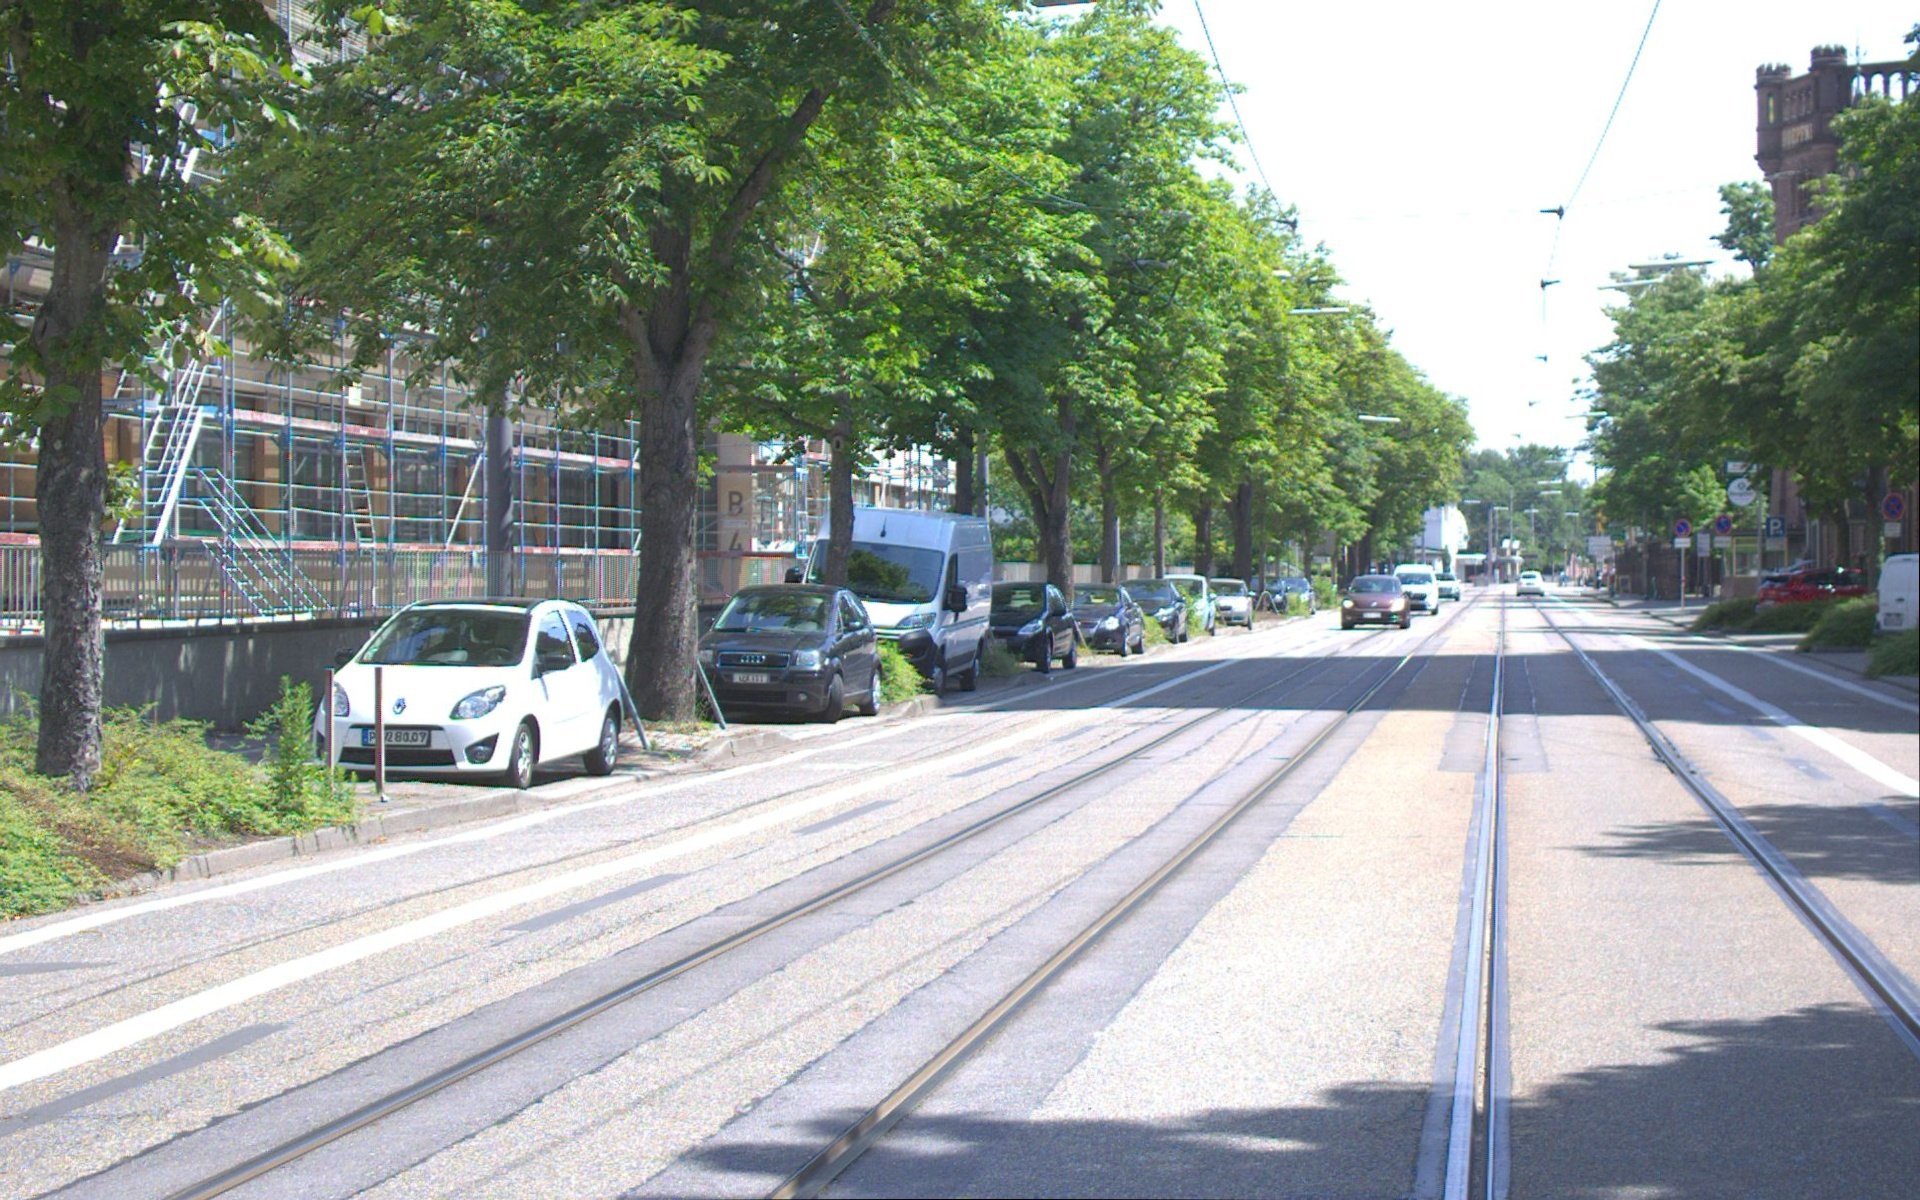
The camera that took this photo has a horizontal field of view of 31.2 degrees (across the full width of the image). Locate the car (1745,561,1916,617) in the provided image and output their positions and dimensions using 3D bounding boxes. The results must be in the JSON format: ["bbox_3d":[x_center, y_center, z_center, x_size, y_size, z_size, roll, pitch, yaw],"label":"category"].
[{"bbox_3d":[23.384,-0.290,92.398,3.986,1.481,2.001,0,1,-12],"label":"car"}]

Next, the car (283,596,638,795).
[{"bbox_3d":[-3.906,0.706,27.425,1.618,1.435,3.581,0,1,13],"label":"car"}]

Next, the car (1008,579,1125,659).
[{"bbox_3d":[2.100,0.341,66.826,1.994,1.481,3.999,0,1,6],"label":"car"}]

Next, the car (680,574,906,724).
[{"bbox_3d":[-1.857,0.514,39.455,1.994,1.601,3.999,1,1,6],"label":"car"}]

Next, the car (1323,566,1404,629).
[{"bbox_3d":[11.137,-0.095,94.730,1.994,1.683,3.998,0,1,10],"label":"car"}]

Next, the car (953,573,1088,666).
[{"bbox_3d":[1.035,0.287,56.616,1.994,1.451,3.999,0,1,4],"label":"car"}]

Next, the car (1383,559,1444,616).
[{"bbox_3d":[16.233,-0.470,123.013,1.994,2.007,3.998,0,1,10],"label":"car"}]

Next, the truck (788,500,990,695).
[{"bbox_3d":[-0.886,-0.065,46.855,2.020,2.477,5.871,0,1,6],"label":"truck"}]

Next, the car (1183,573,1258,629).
[{"bbox_3d":[7.538,0.014,99.277,1.822,1.568,3.999,0,1,9],"label":"car"}]

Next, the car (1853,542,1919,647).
[{"bbox_3d":[17.855,-0.104,60.431,3.986,1.788,1.835,0,1,-28],"label":"car"}]

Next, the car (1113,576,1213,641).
[{"bbox_3d":[4.922,0.184,82.872,1.994,1.481,4.336,0,1,9],"label":"car"}]
